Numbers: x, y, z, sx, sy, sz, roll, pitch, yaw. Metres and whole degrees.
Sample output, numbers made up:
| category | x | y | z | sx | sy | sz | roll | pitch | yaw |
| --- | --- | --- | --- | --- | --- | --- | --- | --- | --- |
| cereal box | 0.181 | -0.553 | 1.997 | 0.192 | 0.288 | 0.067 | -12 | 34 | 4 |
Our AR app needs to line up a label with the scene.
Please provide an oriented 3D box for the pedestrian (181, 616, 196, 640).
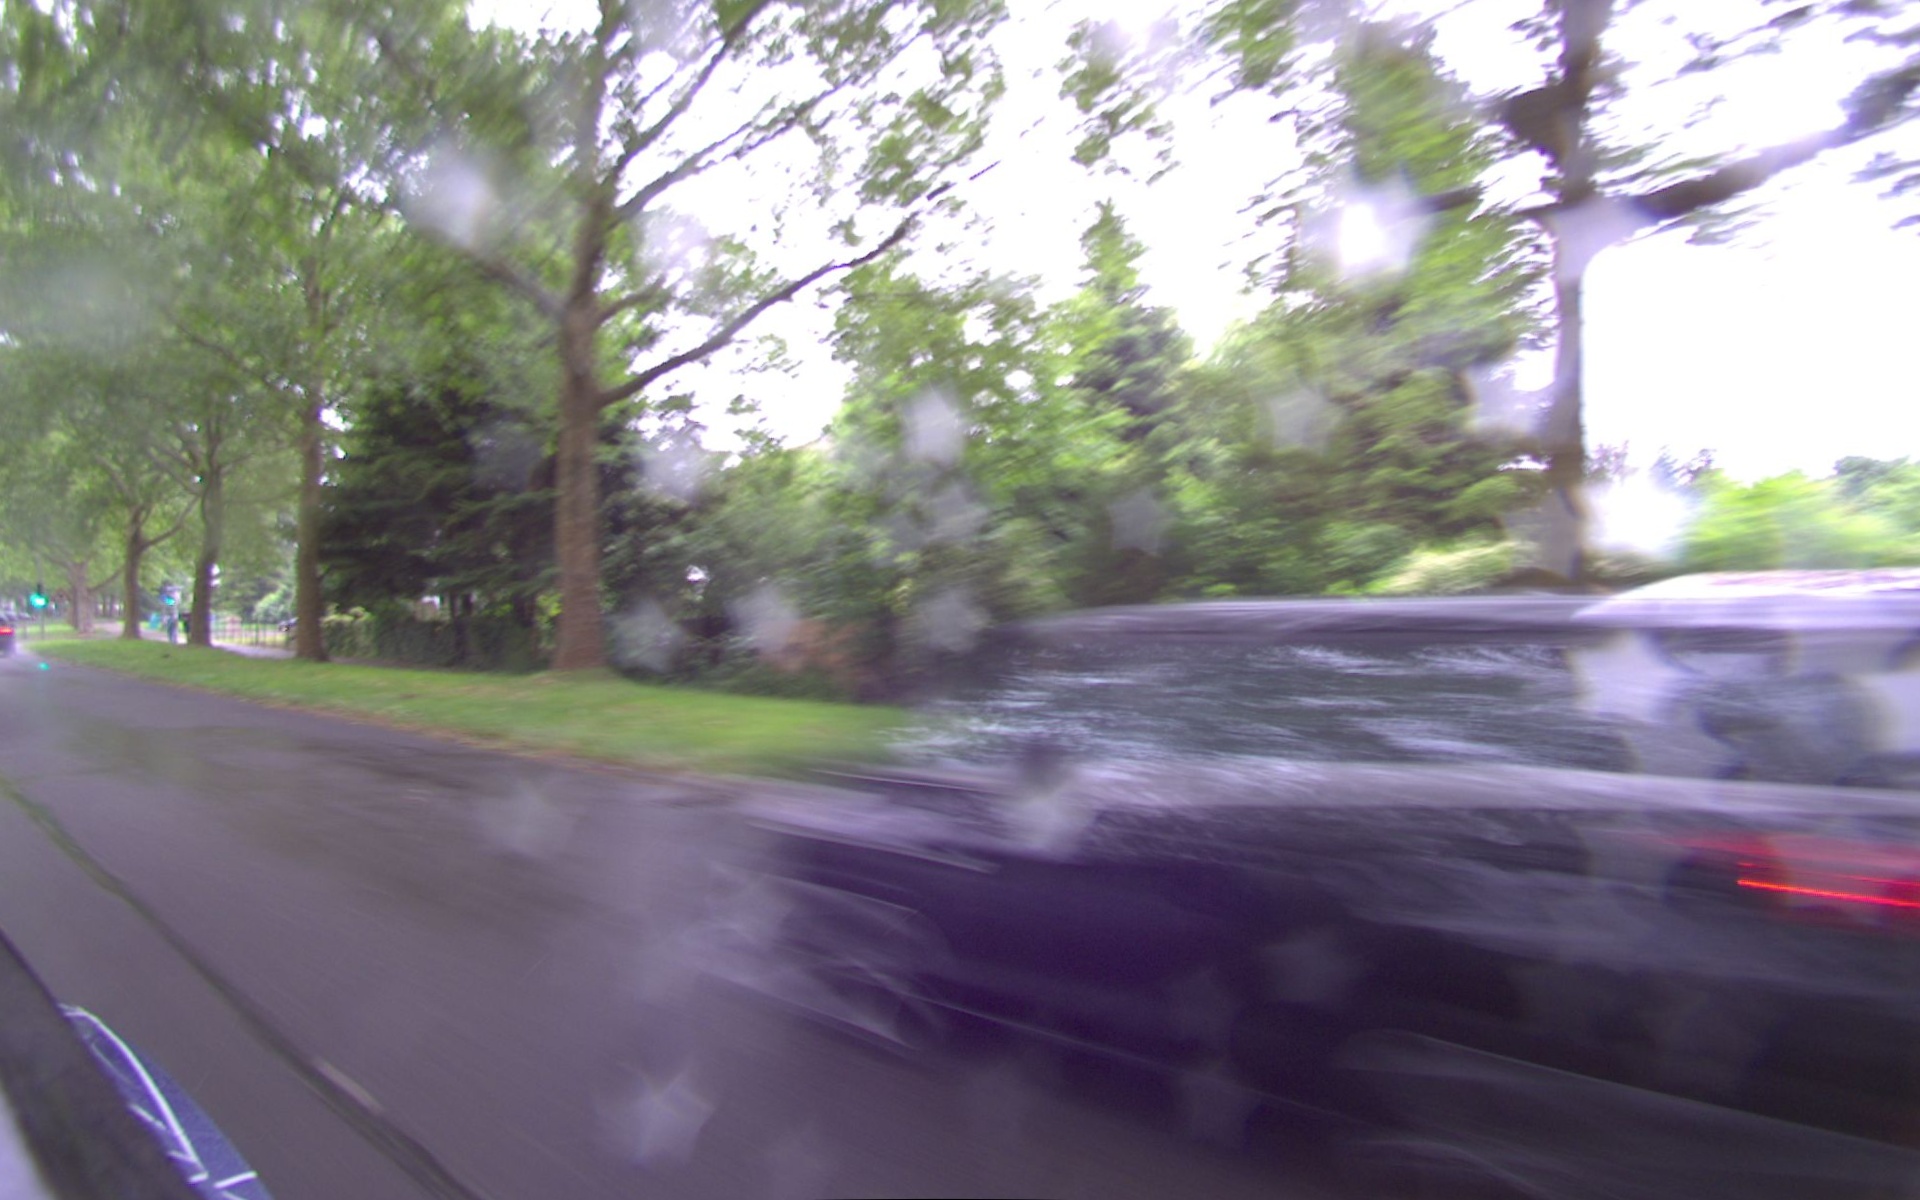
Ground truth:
| category | x | y | z | sx | sy | sz | roll | pitch | yaw |
| --- | --- | --- | --- | --- | --- | --- | --- | --- | --- |
| pedestrian | -41.049 | 1.484 | 53.869 | 0.849 | 1.271 | 0.510 | -1 | 0 | 44 |

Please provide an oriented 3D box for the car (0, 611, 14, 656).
| category | x | y | z | sx | sy | sz | roll | pitch | yaw |
| --- | --- | --- | --- | --- | --- | --- | --- | --- | --- |
| car | -39.275 | 1.330 | 40.418 | 4.454 | 1.741 | 1.789 | -1 | 0 | 42 |

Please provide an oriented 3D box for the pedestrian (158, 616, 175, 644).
| category | x | y | z | sx | sy | sz | roll | pitch | yaw |
| --- | --- | --- | --- | --- | --- | --- | --- | --- | --- |
| pedestrian | -41.699 | 1.558 | 53.188 | 0.857 | 1.464 | 0.591 | -1 | 0 | 44 |

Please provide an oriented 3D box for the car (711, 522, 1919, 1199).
| category | x | y | z | sx | sy | sz | roll | pitch | yaw |
| --- | --- | --- | --- | --- | --- | --- | --- | --- | --- |
| car | 1.219 | 0.629 | 3.112 | 3.996 | 1.513 | 1.827 | -1 | 0 | 40 |
